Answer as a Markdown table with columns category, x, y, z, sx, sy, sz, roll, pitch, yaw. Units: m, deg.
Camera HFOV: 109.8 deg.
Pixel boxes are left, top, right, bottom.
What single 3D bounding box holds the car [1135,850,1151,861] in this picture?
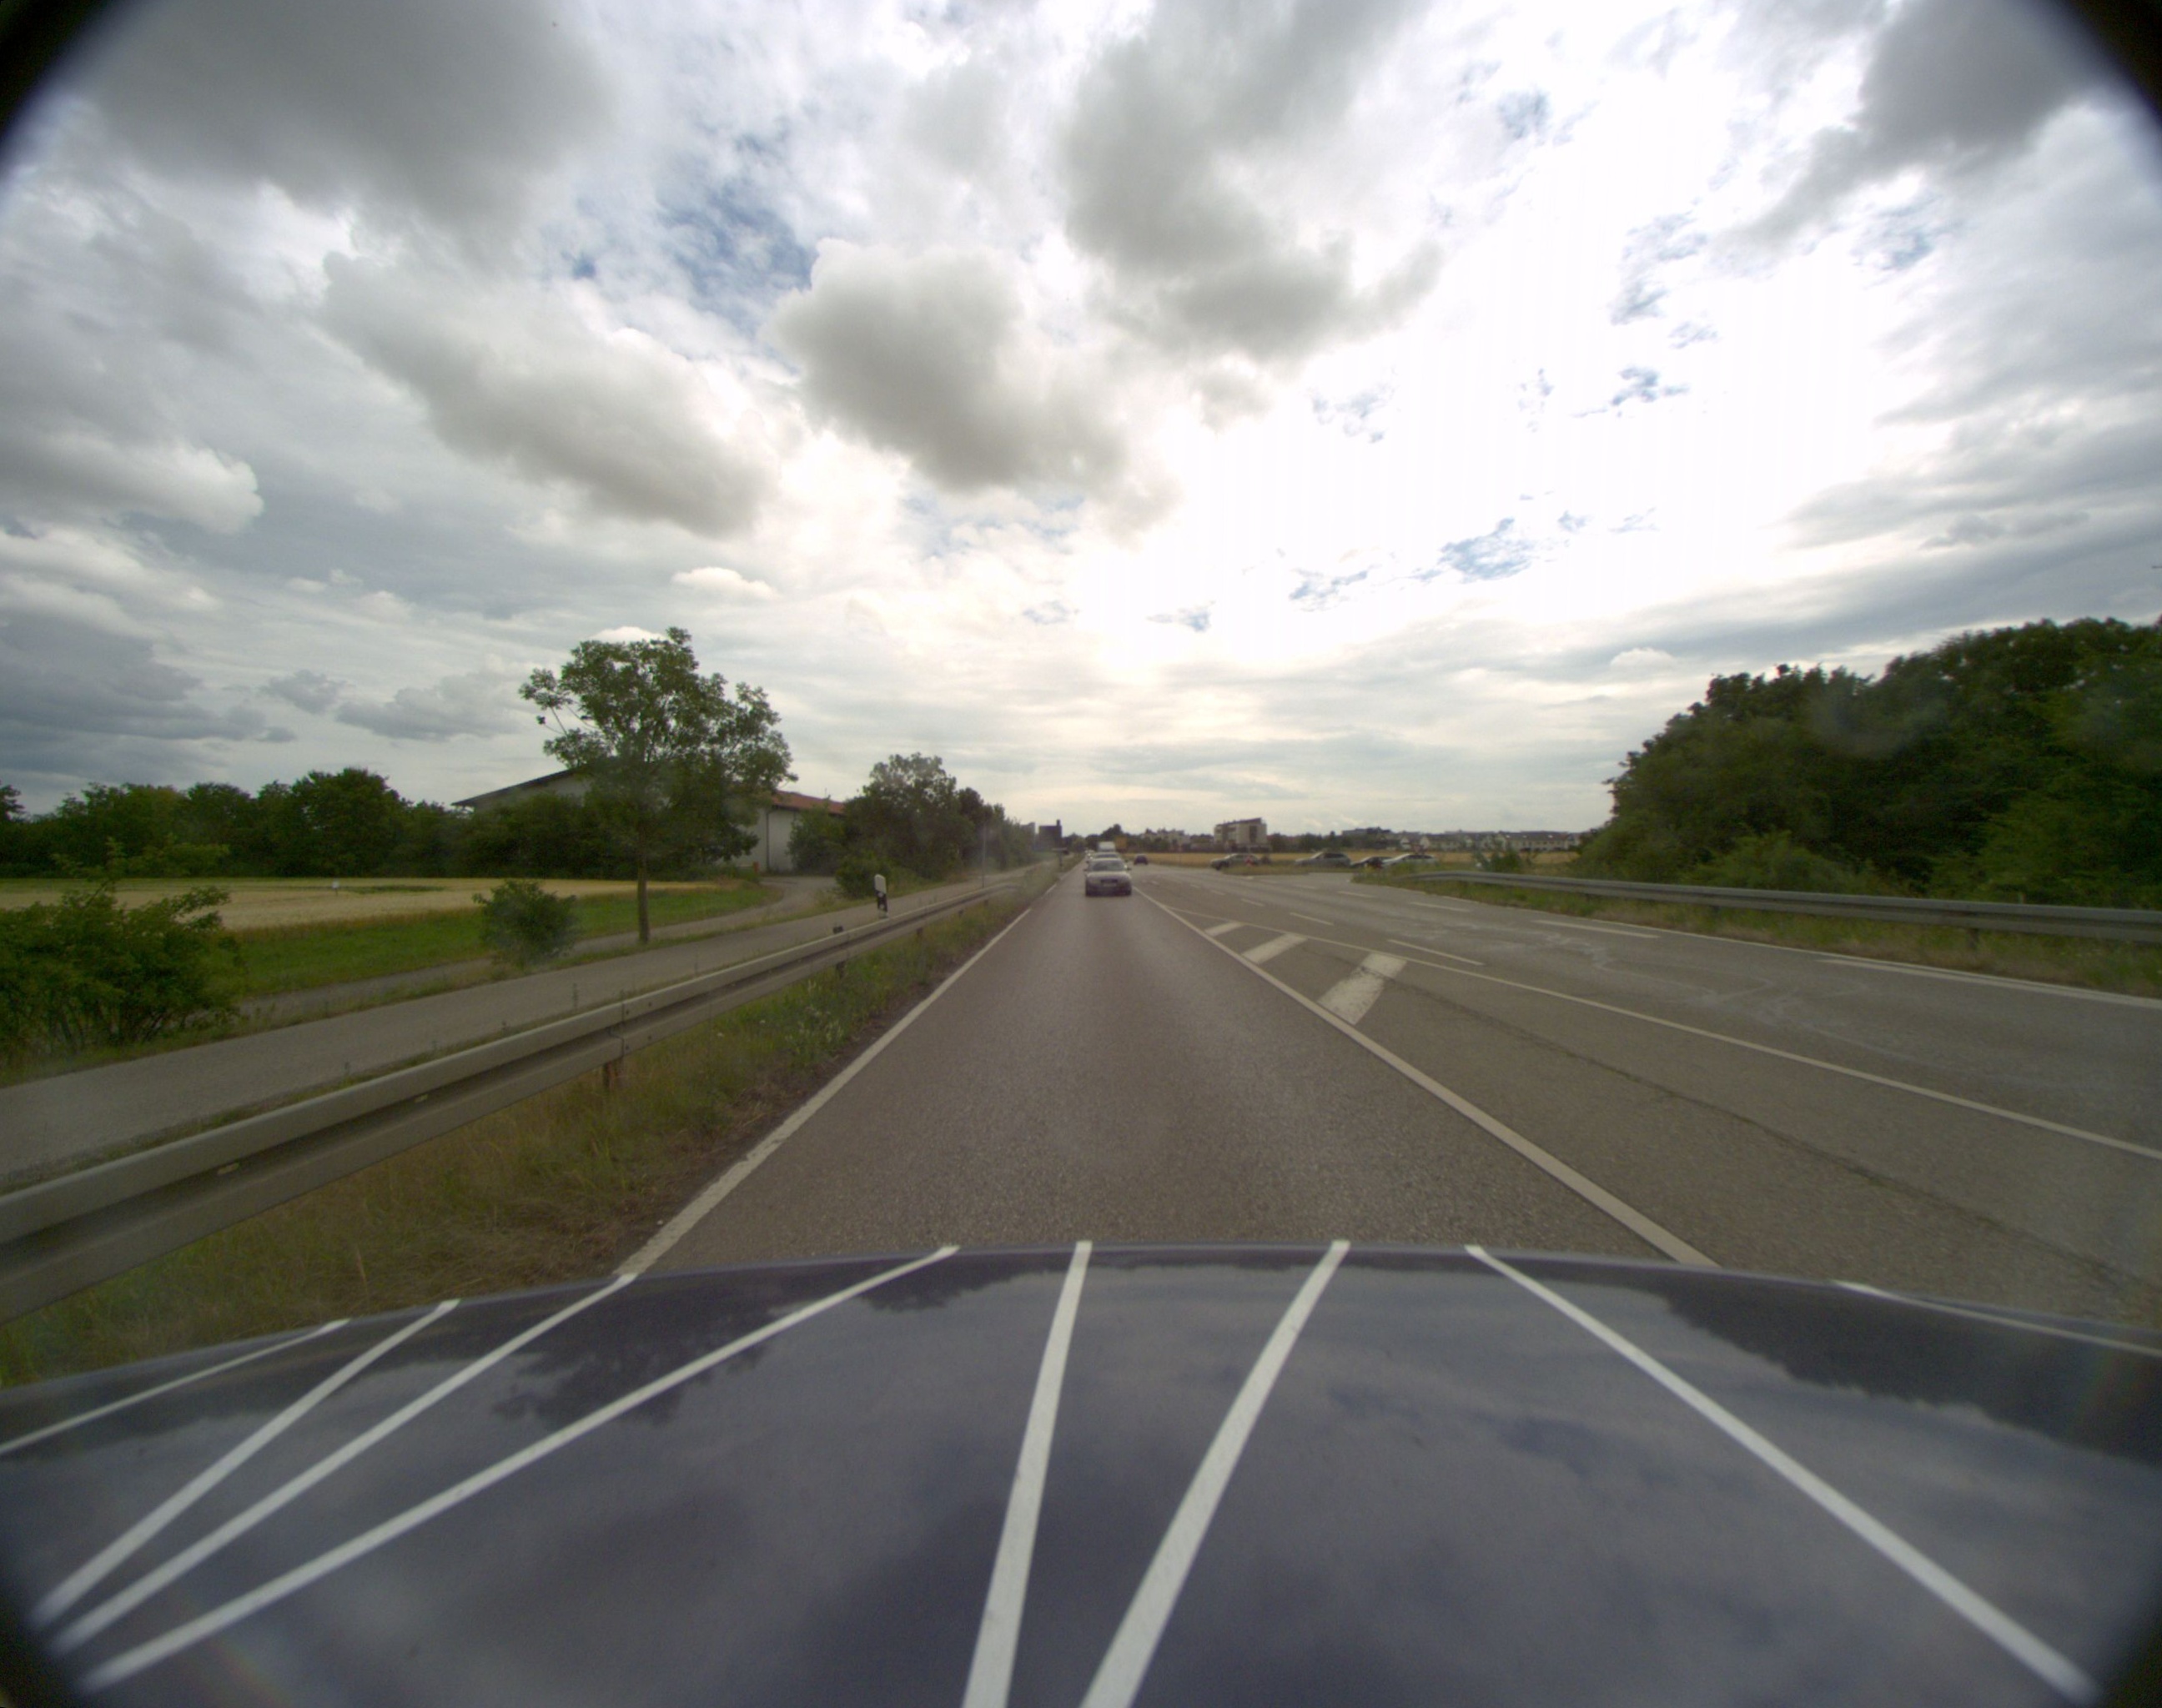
| category | x | y | z | sx | sy | sz | roll | pitch | yaw |
| --- | --- | --- | --- | --- | --- | --- | --- | --- | --- |
| car | 8.151 | 0.228 | 100.304 | 1.867 | 1.368 | 4.000 | -1 | 1 | 2 |

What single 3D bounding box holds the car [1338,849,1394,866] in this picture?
| category | x | y | z | sx | sy | sz | roll | pitch | yaw |
| --- | --- | --- | --- | --- | --- | --- | --- | --- | --- |
| car | 25.337 | 0.332 | 67.686 | 4.406 | 1.474 | 1.912 | 0 | 1 | 7 |

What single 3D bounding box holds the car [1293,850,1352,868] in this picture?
| category | x | y | z | sx | sy | sz | roll | pitch | yaw |
| --- | --- | --- | --- | --- | --- | --- | --- | --- | --- |
| car | 20.896 | 0.399 | 65.923 | 4.632 | 1.508 | 1.912 | 0 | 1 | 7 |

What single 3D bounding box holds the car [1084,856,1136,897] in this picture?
| category | x | y | z | sx | sy | sz | roll | pitch | yaw |
| --- | --- | --- | --- | --- | --- | --- | --- | --- | --- |
| car | 1.125 | 0.832 | 29.999 | 1.909 | 1.416 | 4.465 | 0 | 1 | 2 |

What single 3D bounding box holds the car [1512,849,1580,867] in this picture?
| category | x | y | z | sx | sy | sz | roll | pitch | yaw |
| --- | --- | --- | --- | --- | --- | --- | --- | --- | --- |
| car | 39.070 | 0.295 | 63.878 | 4.500 | 1.474 | 1.912 | 0 | 1 | 7 |

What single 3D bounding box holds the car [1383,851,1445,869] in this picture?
| category | x | y | z | sx | sy | sz | roll | pitch | yaw |
| --- | --- | --- | --- | --- | --- | --- | --- | --- | --- |
| car | 28.181 | 0.496 | 64.468 | 4.500 | 1.474 | 1.912 | 0 | 1 | 7 |

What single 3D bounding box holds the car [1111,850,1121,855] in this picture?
| category | x | y | z | sx | sy | sz | roll | pitch | yaw |
| --- | --- | --- | --- | --- | --- | --- | --- | --- | --- |
| car | 8.100 | -0.361 | 177.225 | 2.170 | 1.277 | 4.237 | -2 | 0 | 0 |

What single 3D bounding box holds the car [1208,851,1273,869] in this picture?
| category | x | y | z | sx | sy | sz | roll | pitch | yaw |
| --- | --- | --- | --- | --- | --- | --- | --- | --- | --- |
| car | 13.887 | 0.502 | 66.344 | 5.299 | 1.512 | 1.910 | 0 | 1 | -1 |

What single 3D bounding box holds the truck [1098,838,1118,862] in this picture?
| category | x | y | z | sx | sy | sz | roll | pitch | yaw |
| --- | --- | --- | --- | --- | --- | --- | --- | --- | --- |
| truck | 4.124 | -0.628 | 117.738 | 2.813 | 3.588 | 11.219 | 0 | 1 | 1 |
